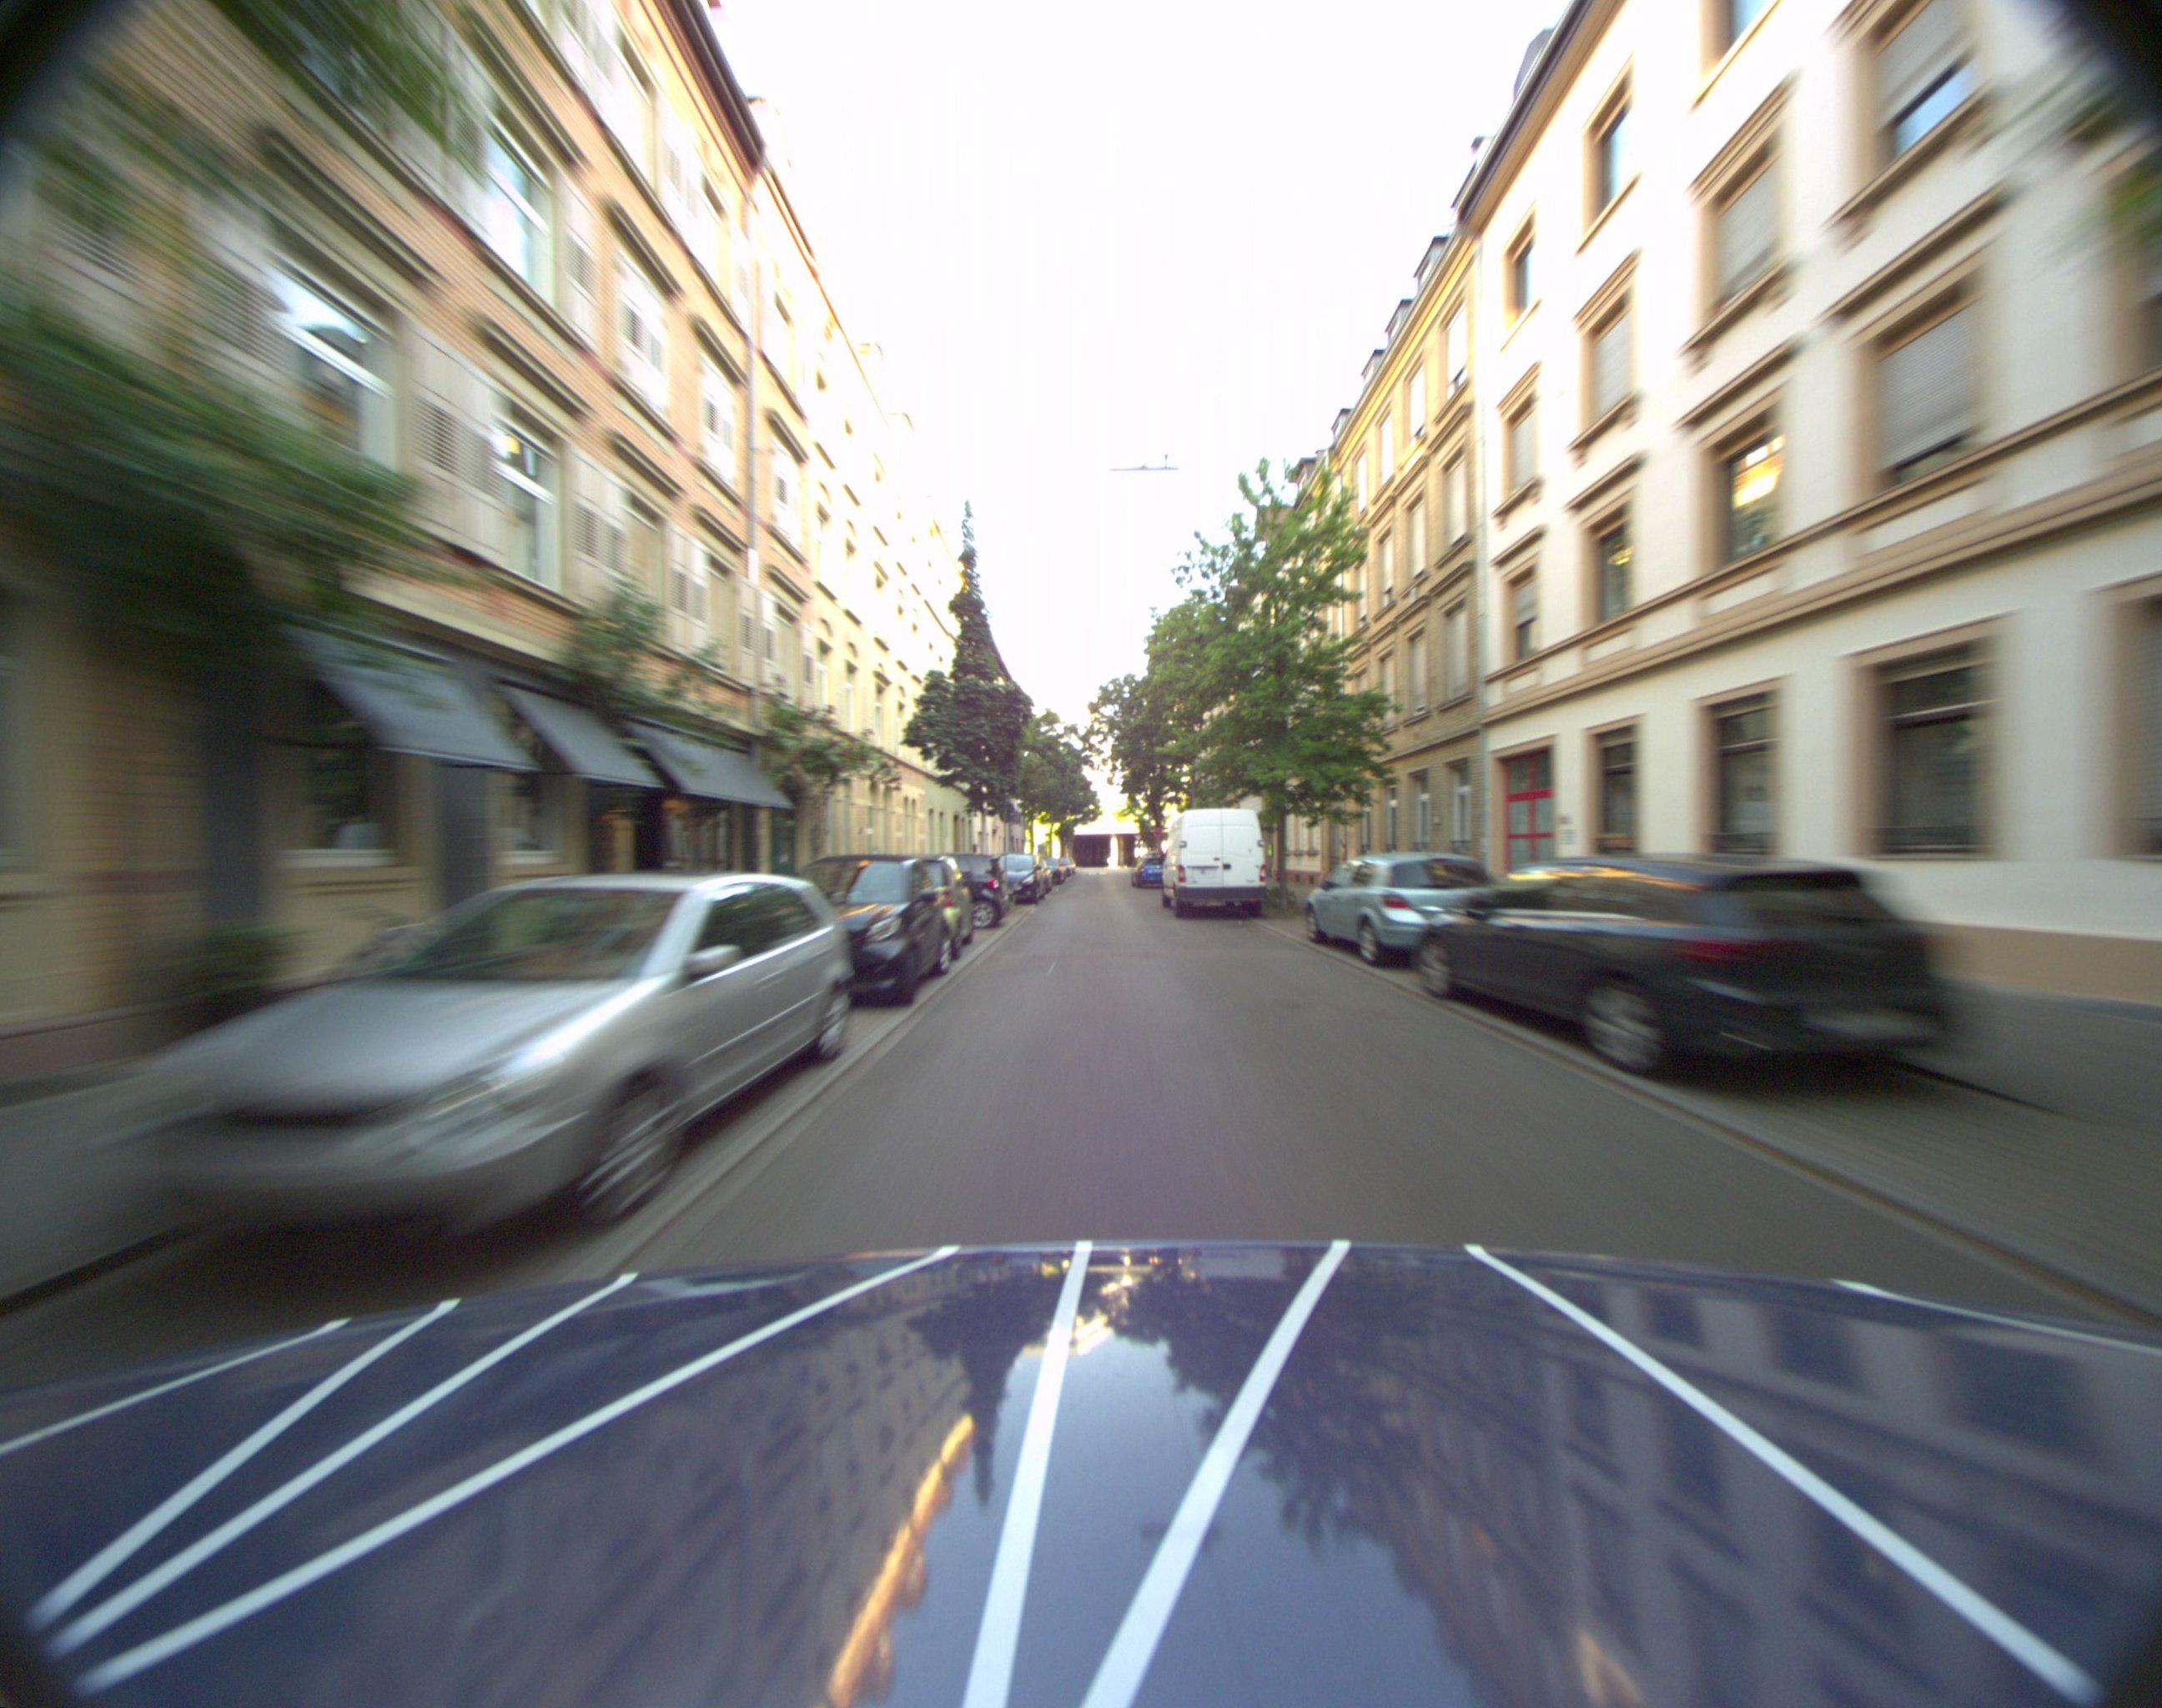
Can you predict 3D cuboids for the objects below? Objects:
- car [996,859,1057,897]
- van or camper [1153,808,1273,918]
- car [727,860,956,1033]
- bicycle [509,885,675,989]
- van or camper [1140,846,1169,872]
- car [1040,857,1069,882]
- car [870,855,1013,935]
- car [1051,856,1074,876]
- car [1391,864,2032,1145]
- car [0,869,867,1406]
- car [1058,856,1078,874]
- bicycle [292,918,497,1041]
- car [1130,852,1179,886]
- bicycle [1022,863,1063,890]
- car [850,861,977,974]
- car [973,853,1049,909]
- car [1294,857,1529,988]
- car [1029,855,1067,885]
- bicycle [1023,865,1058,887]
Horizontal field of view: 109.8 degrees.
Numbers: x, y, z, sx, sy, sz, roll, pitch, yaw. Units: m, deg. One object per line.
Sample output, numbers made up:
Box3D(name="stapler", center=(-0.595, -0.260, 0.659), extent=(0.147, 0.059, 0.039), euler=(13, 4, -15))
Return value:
Box3D(name="car", center=(-2.152, 0.915, 31.342), extent=(2.051, 1.395, 4.866), euler=(0, 0, 1))
Box3D(name="van or camper", center=(3.165, 0.197, 19.504), extent=(2.225, 2.417, 5.660), euler=(0, 0, 1))
Box3D(name="car", center=(-2.490, 0.878, 8.649), extent=(1.595, 1.551, 3.122), euler=(-1, 0, 0))
Box3D(name="bicycle", center=(-5.891, 0.946, 9.314), extent=(0.688, 1.030, 1.950), euler=(2, 1, 2))
Box3D(name="van or camper", center=(5.403, 0.380, 56.569), extent=(1.683, 1.847, 3.756), euler=(-1, 0, -1))
Box3D(name="car", center=(-1.600, 0.916, 46.709), extent=(1.656, 1.431, 3.639), euler=(-1, 0, 0))
Box3D(name="car", center=(-2.901, 0.829, 16.217), extent=(2.721, 1.564, 1.526), euler=(1, 0, 1))
Box3D(name="car", center=(-1.397, 0.891, 58.119), extent=(1.656, 1.500, 3.869), euler=(-1, 0, -1))
Box3D(name="car", center=(4.331, 0.855, 6.296), extent=(1.771, 1.454, 4.258), euler=(-1, 0, 0))
Box3D(name="car", center=(-2.696, 0.872, 4.277), extent=(1.737, 1.482, 4.104), euler=(0, 0, 1))
Box3D(name="car", center=(-1.114, 0.897, 64.249), extent=(1.656, 1.381, 3.512), euler=(-1, 0, -1))
Box3D(name="bicycle", center=(-6.158, 1.086, 6.935), extent=(0.447, 0.854, 1.547), euler=(-1, 0, 0))
Box3D(name="car", center=(3.347, 0.651, 35.328), extent=(1.665, 1.448, 4.283), euler=(0, 0, -2))
Box3D(name="bicycle", center=(-1.772, 1.033, 35.213), extent=(1.761, 1.217, 0.639), euler=(0, 2, -26))
Box3D(name="car", center=(-2.529, 0.899, 12.040), extent=(1.468, 1.543, 2.917), euler=(0, 0, -2))
Box3D(name="car", center=(-2.152, 0.785, 24.601), extent=(1.944, 1.621, 4.454), euler=(-1, 0, 1))
Box3D(name="car", center=(4.514, 0.828, 11.119), extent=(1.688, 1.501, 4.114), euler=(-1, 0, 1))
Box3D(name="car", center=(-1.762, 0.848, 41.626), extent=(1.835, 1.530, 4.124), euler=(0, 0, 1))
Box3D(name="bicycle", center=(-2.037, 1.079, 37.911), extent=(1.753, 1.014, 0.642), euler=(1, 2, 36))
